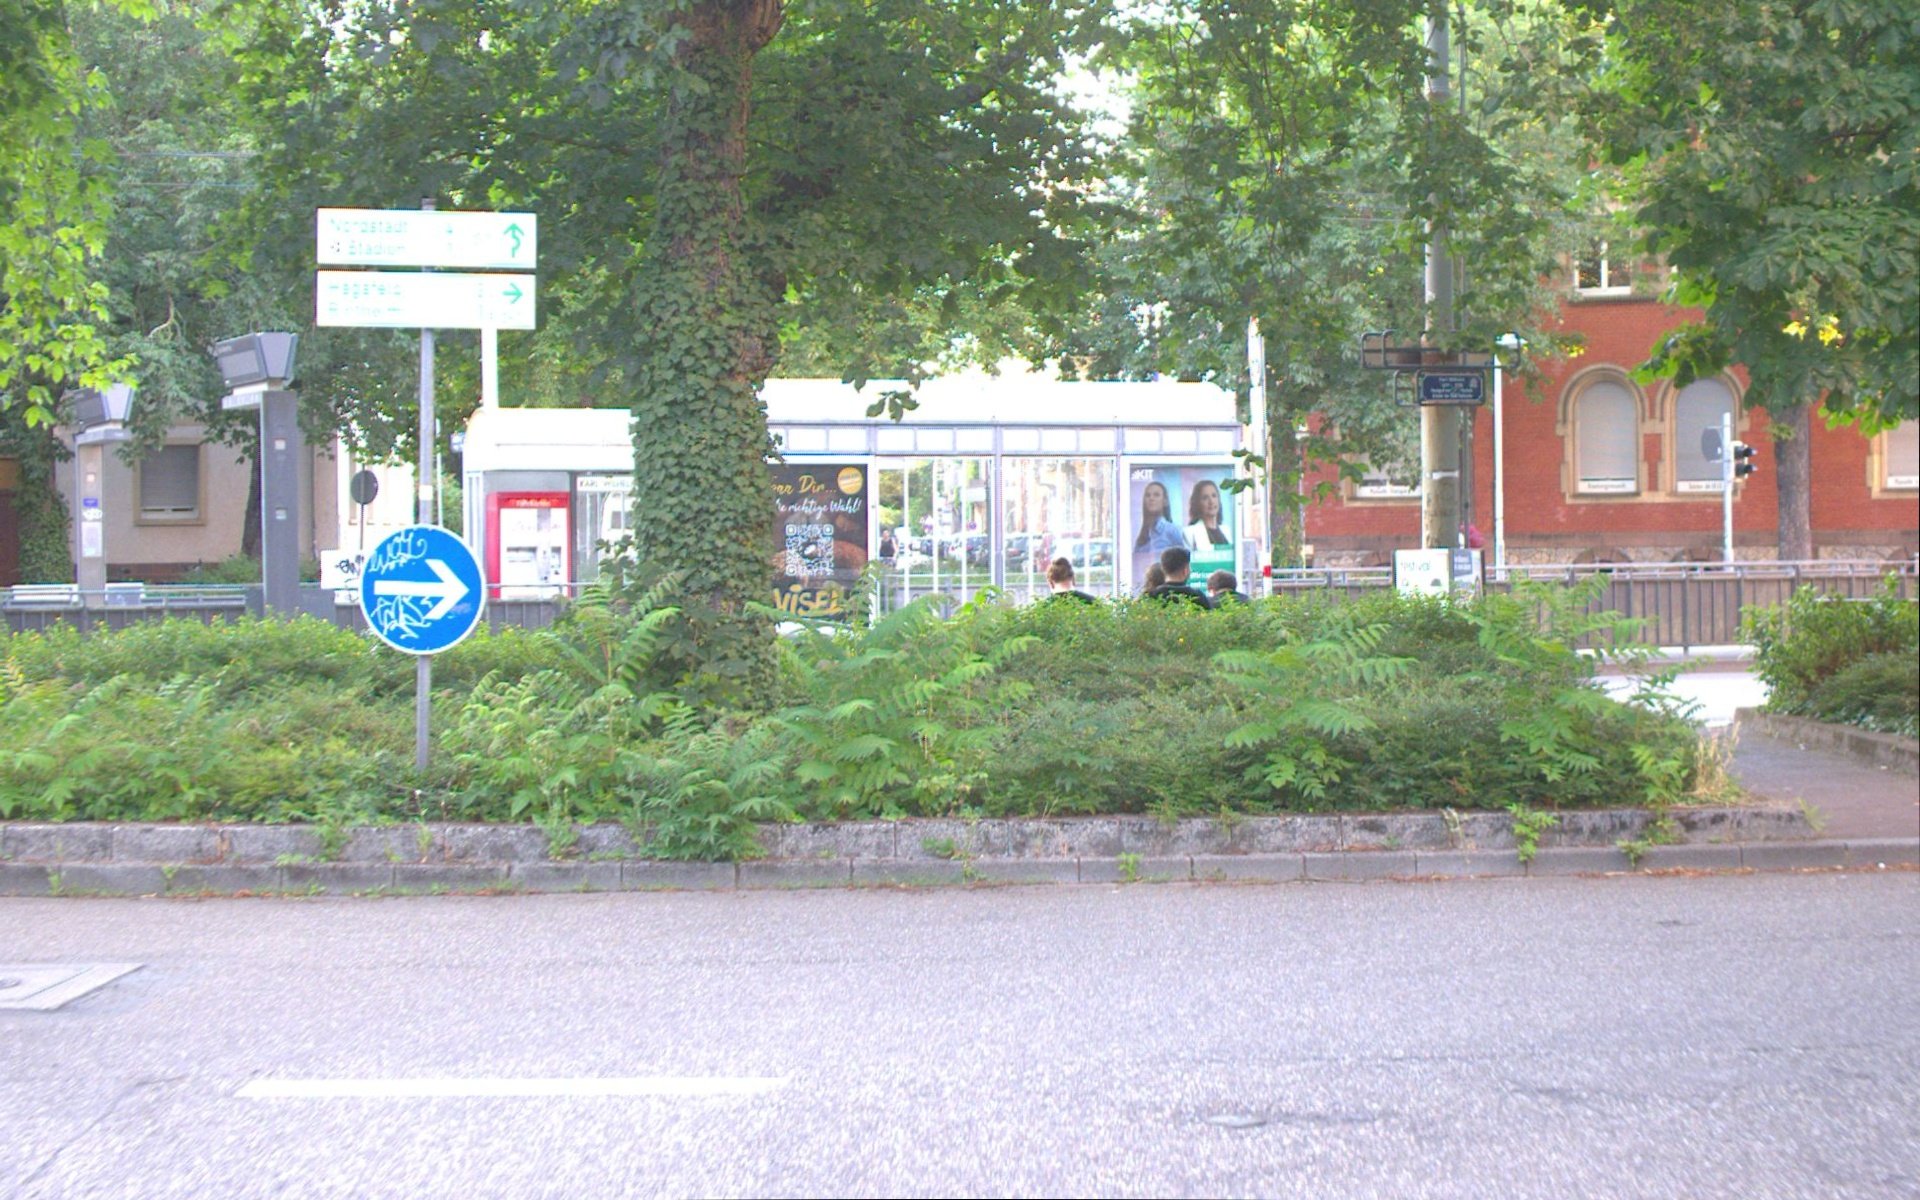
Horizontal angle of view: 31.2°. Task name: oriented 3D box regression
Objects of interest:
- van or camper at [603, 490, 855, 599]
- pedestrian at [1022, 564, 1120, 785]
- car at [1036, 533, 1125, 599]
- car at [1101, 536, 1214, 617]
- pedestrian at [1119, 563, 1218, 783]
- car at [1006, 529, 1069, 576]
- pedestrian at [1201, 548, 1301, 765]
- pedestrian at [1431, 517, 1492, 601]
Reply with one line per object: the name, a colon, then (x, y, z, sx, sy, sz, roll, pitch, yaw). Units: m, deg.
van or camper: (-6.920, -1.662, 102.705, 7.364, 3.072, 2.674, 1, 1, -5)
pedestrian: (0.729, 0.482, 22.731, 0.616, 1.426, 0.655, 0, 1, 0)
car: (3.219, -0.941, 92.489, 1.993, 1.698, 4.720, 1, 1, -2)
car: (4.341, -0.537, 76.178, 1.993, 1.698, 4.720, 1, 1, -2)
pedestrian: (1.381, 0.472, 22.832, 0.616, 1.426, 0.655, 0, 1, 0)
car: (2.875, -1.783, 128.088, 1.993, 1.698, 4.720, 1, 1, -2)
pedestrian: (1.952, 0.372, 23.110, 0.616, 1.426, 0.655, 0, 1, 0)
pedestrian: (9.244, -0.759, 63.387, 0.866, 1.521, 0.714, 0, 1, 37)
